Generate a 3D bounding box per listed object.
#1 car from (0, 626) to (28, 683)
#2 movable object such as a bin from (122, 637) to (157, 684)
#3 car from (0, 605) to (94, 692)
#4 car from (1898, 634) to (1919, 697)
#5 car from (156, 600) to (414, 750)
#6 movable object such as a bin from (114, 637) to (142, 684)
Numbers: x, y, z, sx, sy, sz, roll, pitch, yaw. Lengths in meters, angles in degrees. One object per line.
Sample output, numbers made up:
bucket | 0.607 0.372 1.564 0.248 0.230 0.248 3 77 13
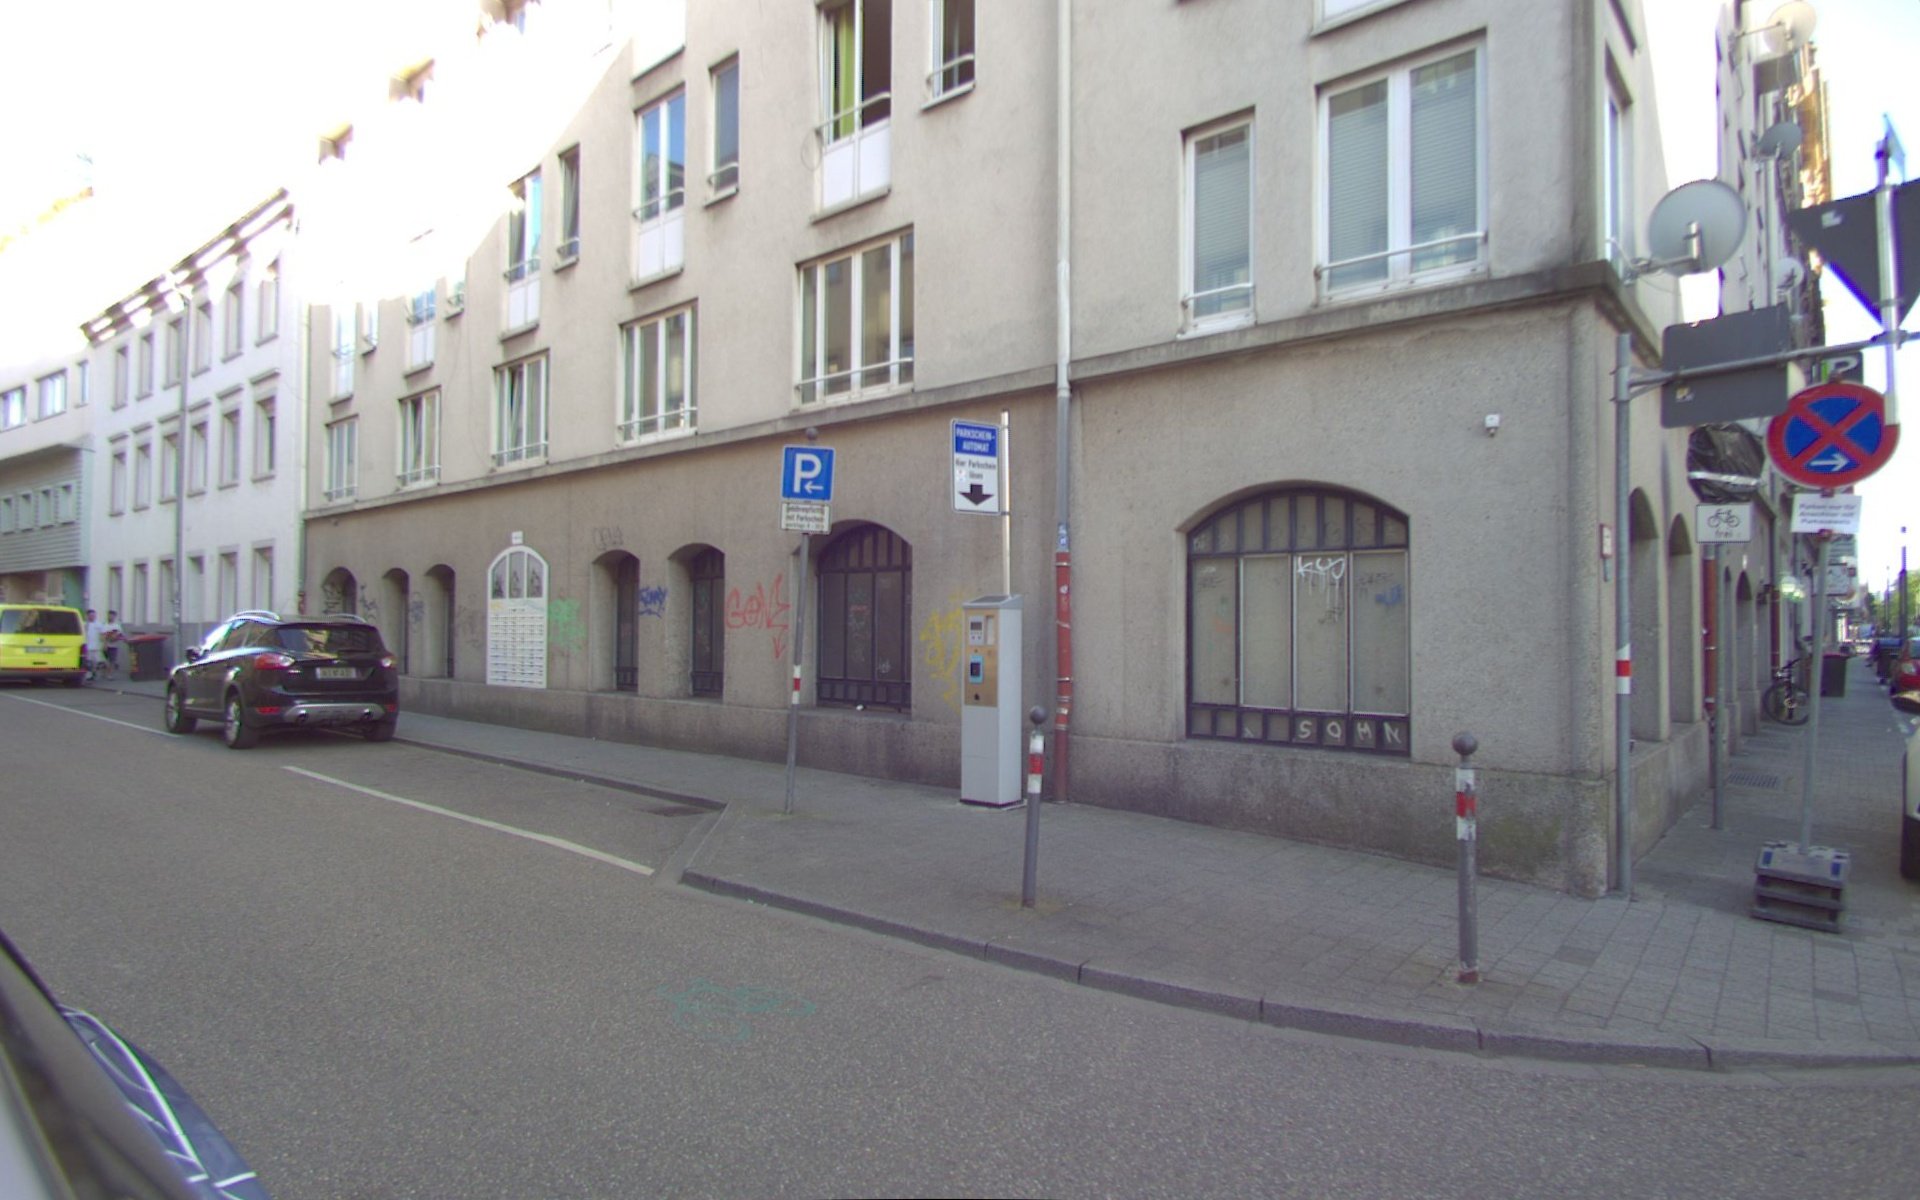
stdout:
car | -26.952 1.422 27.227 4.065 1.497 1.804 -1 -4 34
movable object such as a bin | -19.607 1.432 24.184 0.432 1.113 0.535 -1 -3 38
car | -22.552 1.135 24.027 4.854 1.881 1.863 -1 -4 36
car | 23.860 1.559 24.398 1.683 1.453 3.530 -2 -3 45
car | -9.216 0.963 13.699 4.187 1.724 1.722 -1 -5 40
movable object such as a bin | -20.193 1.457 24.552 0.432 1.113 0.406 -1 -3 38
